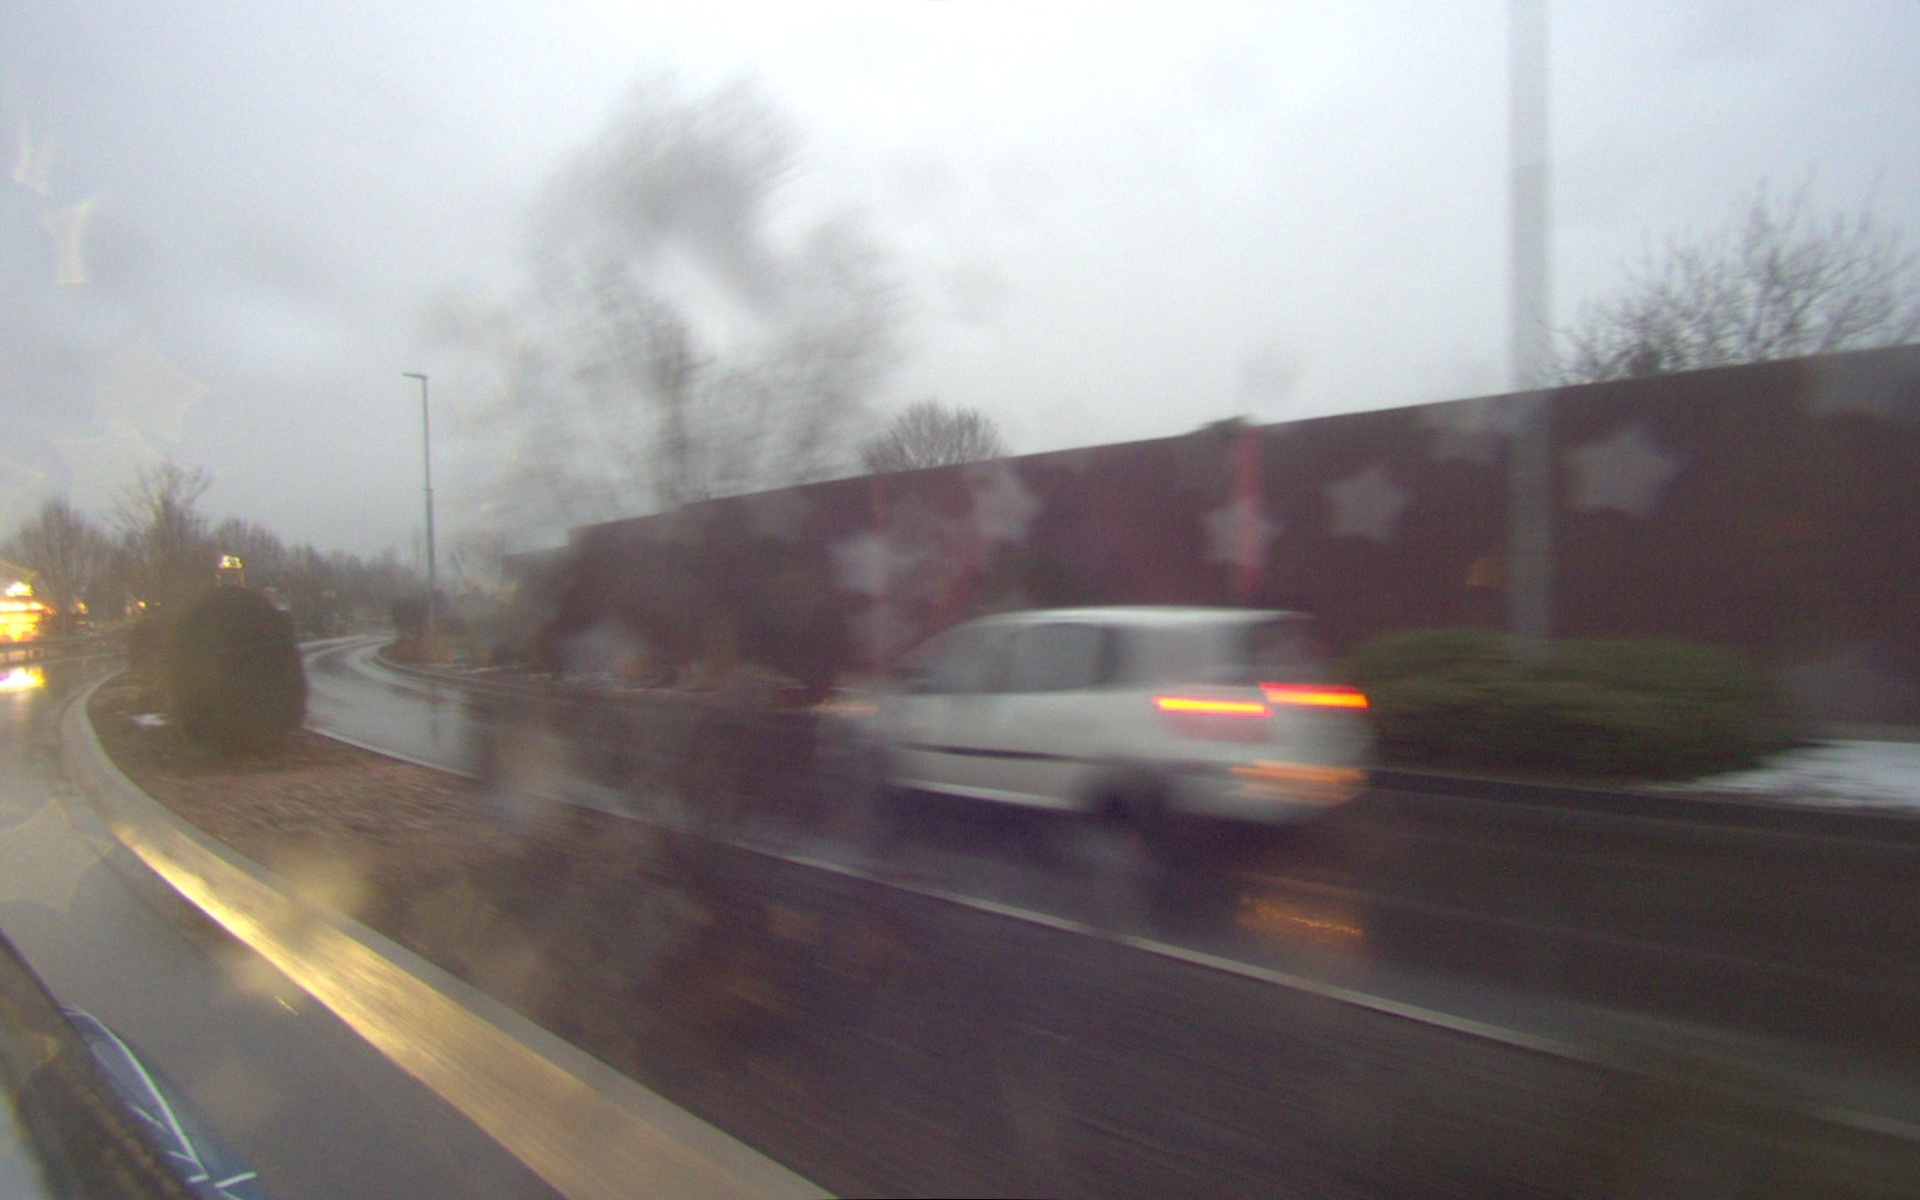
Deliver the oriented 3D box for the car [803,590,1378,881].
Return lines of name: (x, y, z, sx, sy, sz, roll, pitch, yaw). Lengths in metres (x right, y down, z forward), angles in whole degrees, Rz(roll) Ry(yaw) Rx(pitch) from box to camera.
car: (0.723, 0.718, 6.999, 3.684, 1.480, 1.590, -1, 0, 42)
